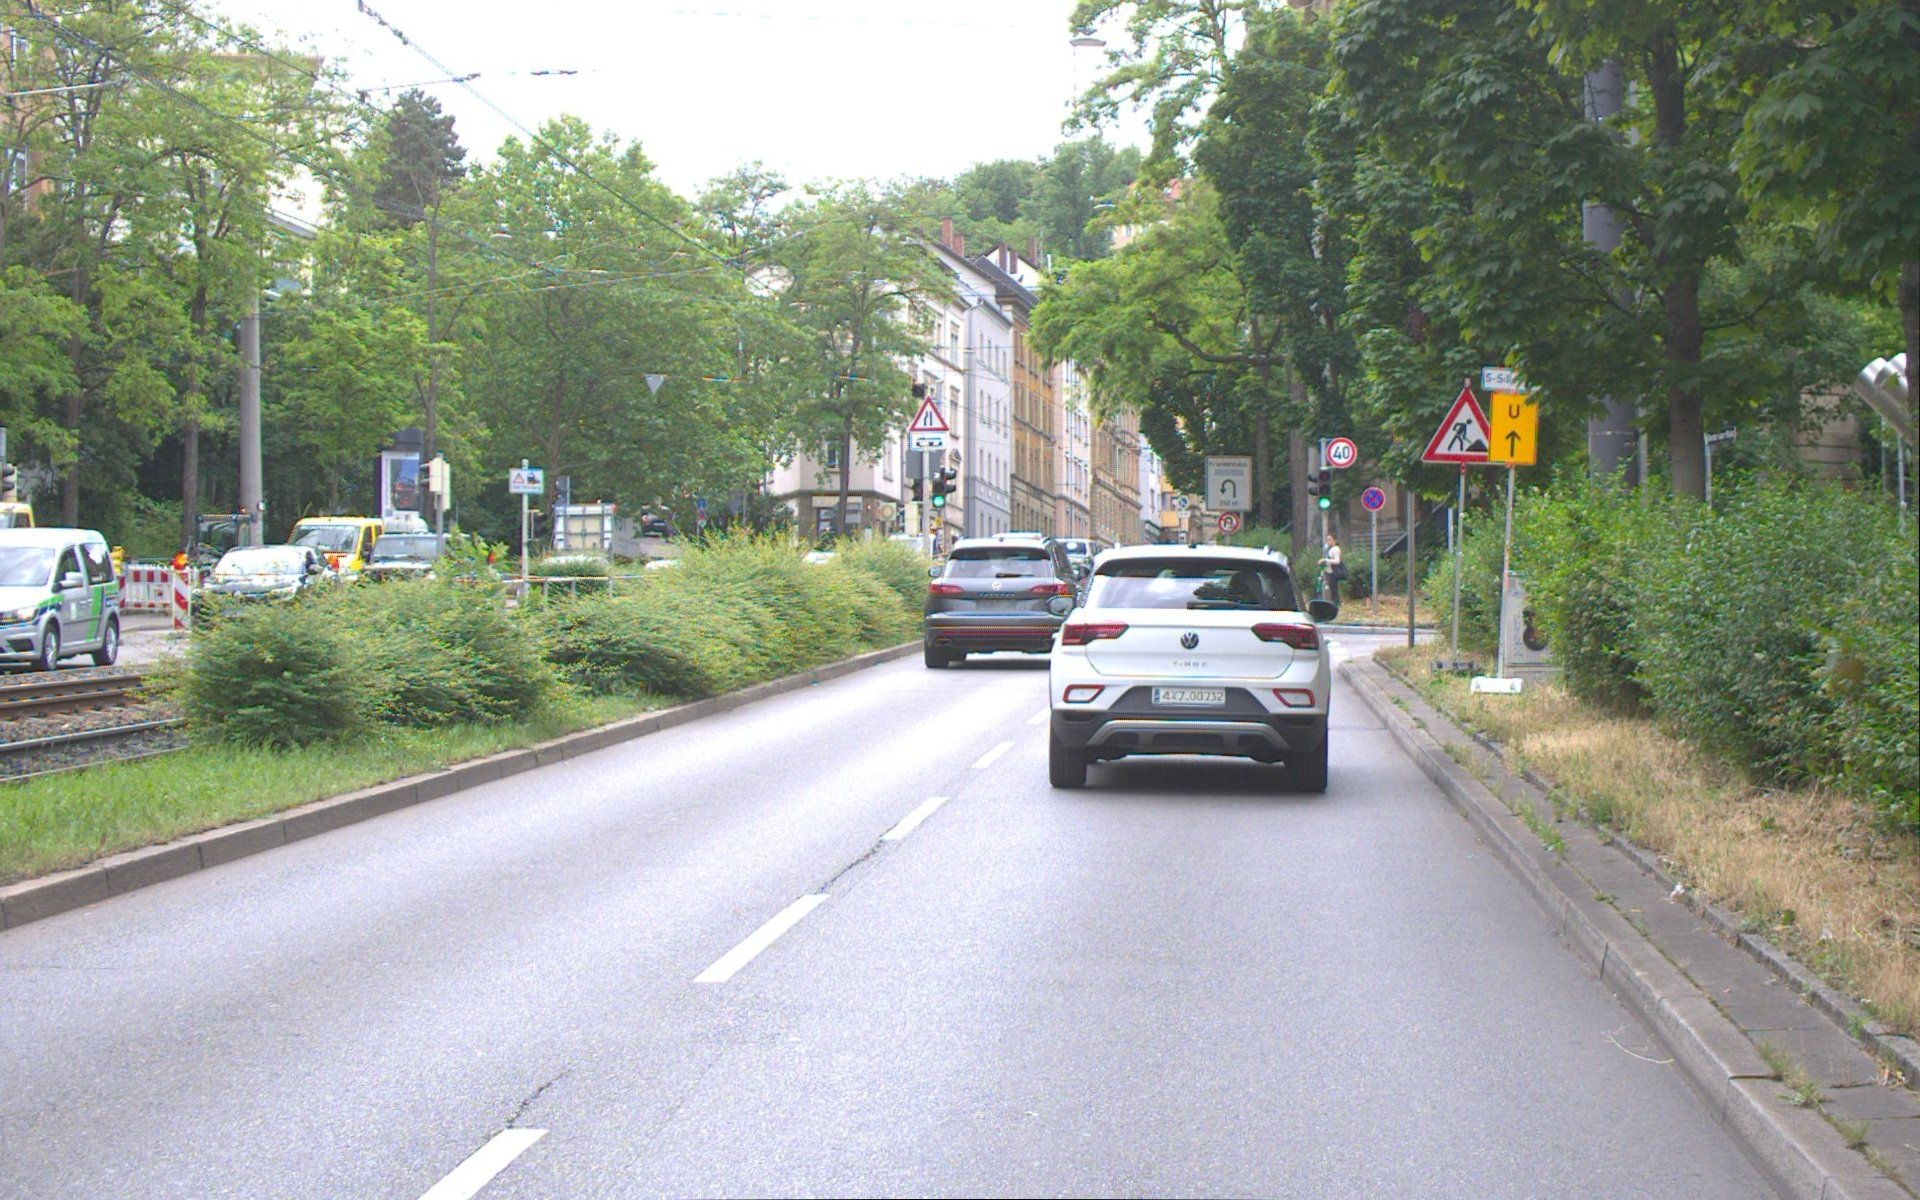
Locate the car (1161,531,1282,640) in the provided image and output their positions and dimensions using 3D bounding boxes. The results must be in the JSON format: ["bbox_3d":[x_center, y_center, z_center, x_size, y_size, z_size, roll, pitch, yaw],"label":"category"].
[{"bbox_3d":[4.558,-0.222,59.896,1.994,1.618,3.999,-1,-3,4],"label":"car"}]

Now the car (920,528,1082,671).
[{"bbox_3d":[0.584,-0.016,44.913,1.839,1.734,3.999,1,0,4],"label":"car"}]

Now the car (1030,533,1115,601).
[{"bbox_3d":[4.098,-1.222,123.986,2.422,2.162,6.032,5,2,6],"label":"car"}]

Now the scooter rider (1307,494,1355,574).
[{"bbox_3d":[7.309,-1.297,67.669,0.777,1.552,0.532,-1,0,-13],"label":"scooter rider"}]

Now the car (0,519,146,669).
[{"bbox_3d":[-11.897,-0.072,43.345,1.879,1.781,4.516,-1,0,4],"label":"car"}]

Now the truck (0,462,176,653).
[{"bbox_3d":[-14.973,-0.567,54.172,2.918,2.501,7.152,-4,-2,5],"label":"truck"}]

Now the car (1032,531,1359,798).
[{"bbox_3d":[1.514,0.387,22.969,1.938,1.561,4.046,2,0,2],"label":"car"}]

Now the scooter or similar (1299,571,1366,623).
[{"bbox_3d":[7.336,-0.058,67.679,1.187,0.991,0.531,-1,1,-13],"label":"scooter or similar"}]

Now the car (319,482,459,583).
[{"bbox_3d":[-11.517,-1.339,69.611,1.899,1.870,4.642,2,0,1],"label":"car"}]

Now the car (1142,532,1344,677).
[{"bbox_3d":[3.348,0.092,41.336,1.902,1.569,3.834,3,-2,-2],"label":"car"}]

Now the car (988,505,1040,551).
[{"bbox_3d":[2.409,-3.198,153.218,1.994,2.007,3.999,-1,1,5],"label":"car"}]

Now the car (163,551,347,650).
[{"bbox_3d":[-11.710,0.021,57.398,1.865,1.549,4.437,1,0,4],"label":"car"}]

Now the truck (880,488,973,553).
[{"bbox_3d":[-1.237,-3.042,130.012,2.423,2.161,6.032,3,3,10],"label":"truck"}]
